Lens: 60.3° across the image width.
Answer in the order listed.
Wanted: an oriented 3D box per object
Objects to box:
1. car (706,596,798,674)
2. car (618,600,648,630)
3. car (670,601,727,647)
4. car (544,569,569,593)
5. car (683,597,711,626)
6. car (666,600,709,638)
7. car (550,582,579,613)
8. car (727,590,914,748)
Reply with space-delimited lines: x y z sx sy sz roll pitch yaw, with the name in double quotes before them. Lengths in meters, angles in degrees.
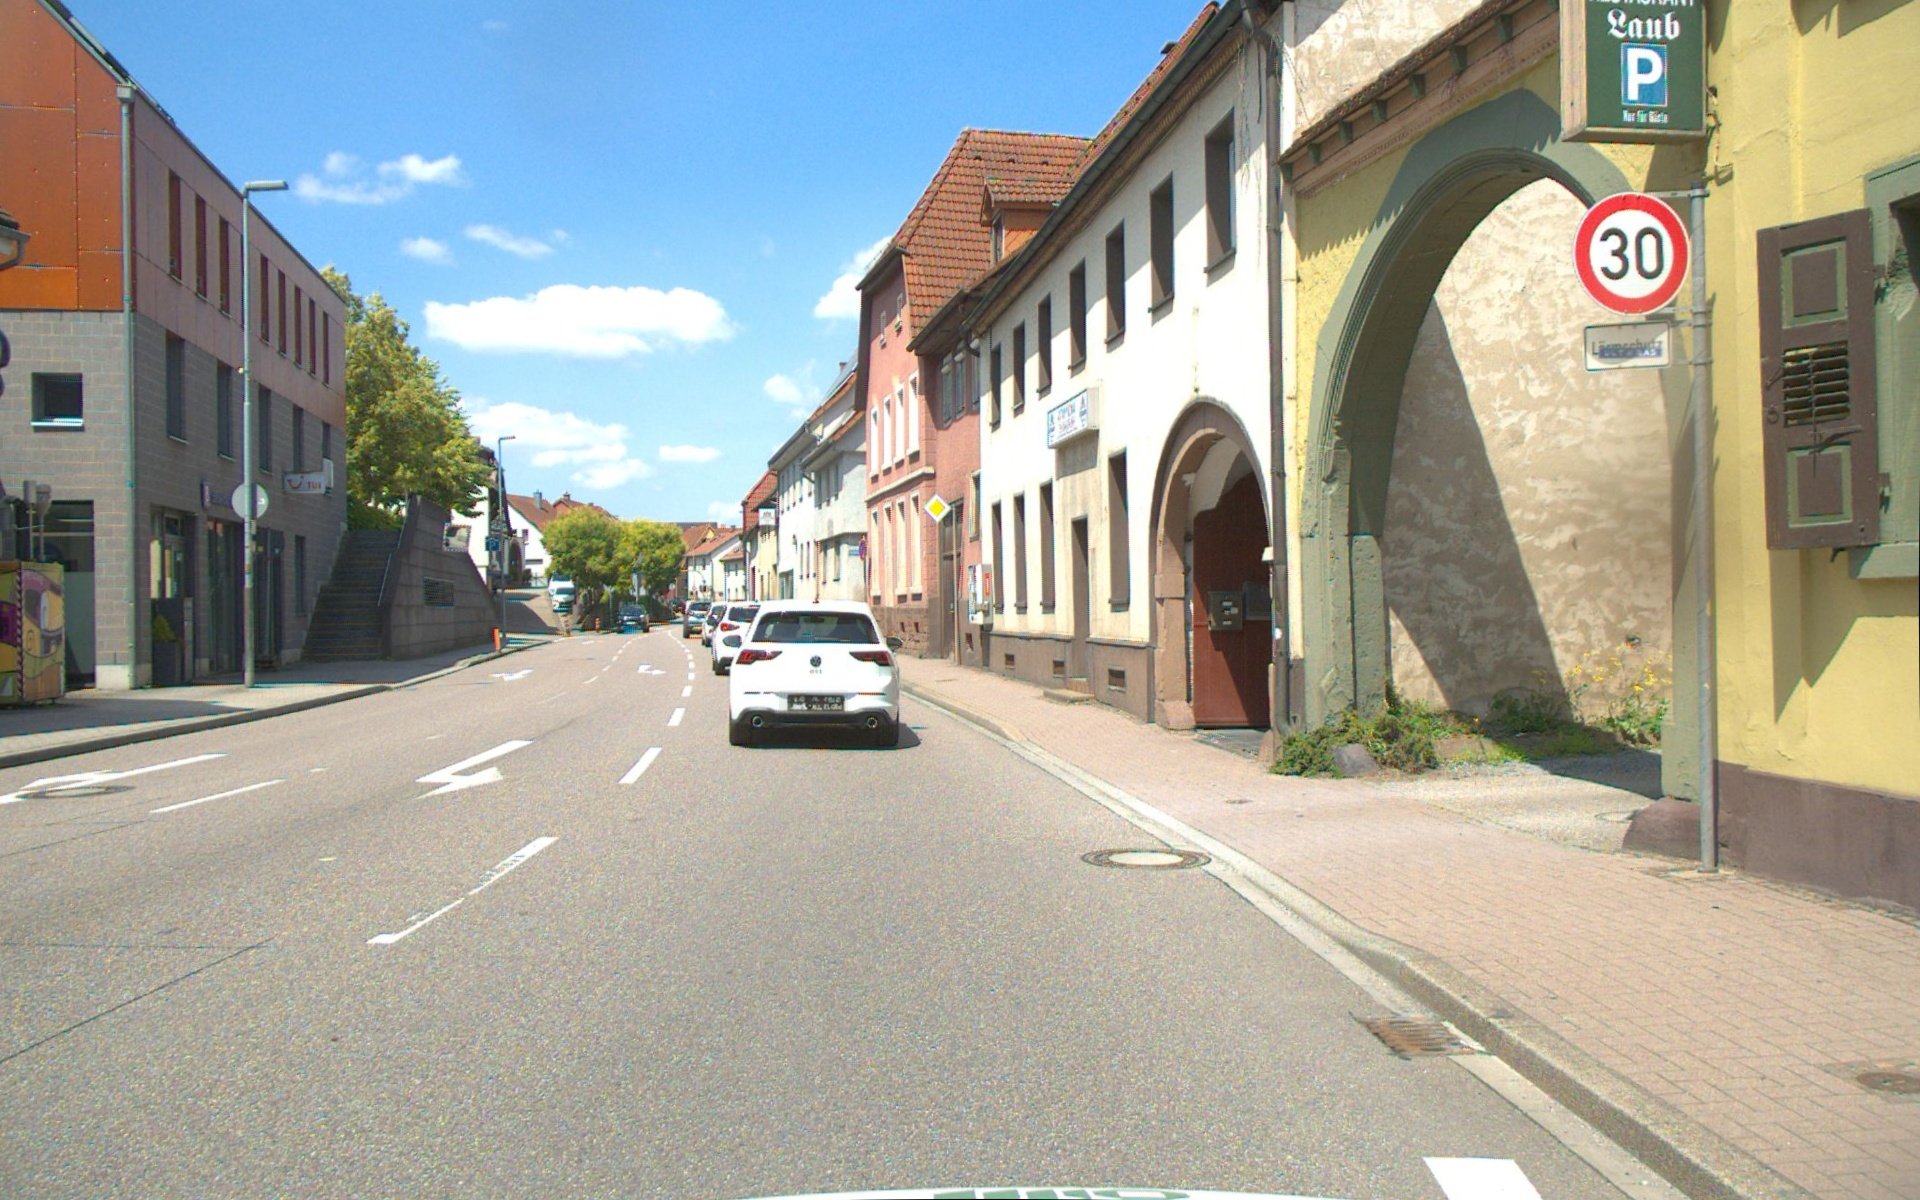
"car" -4.333 0.713 34.532 1.773 1.493 3.994 1 -1 -7
"car" -19.038 0.856 96.445 1.640 1.686 4.007 -1 0 -11
"car" -9.017 0.812 56.793 1.775 1.493 3.989 1 -1 -11
"car" -28.650 -1.352 117.600 1.548 1.385 3.847 0 6 -11
"car" -16.905 0.741 106.292 1.743 1.796 3.991 0 0 -10
"car" -11.758 0.796 71.497 1.742 1.565 3.992 0 0 -9
"car" -25.367 -0.184 106.199 1.663 1.569 3.847 0 6 -11
"car" -1.503 0.690 17.930 1.772 1.493 3.996 1 -1 -5
